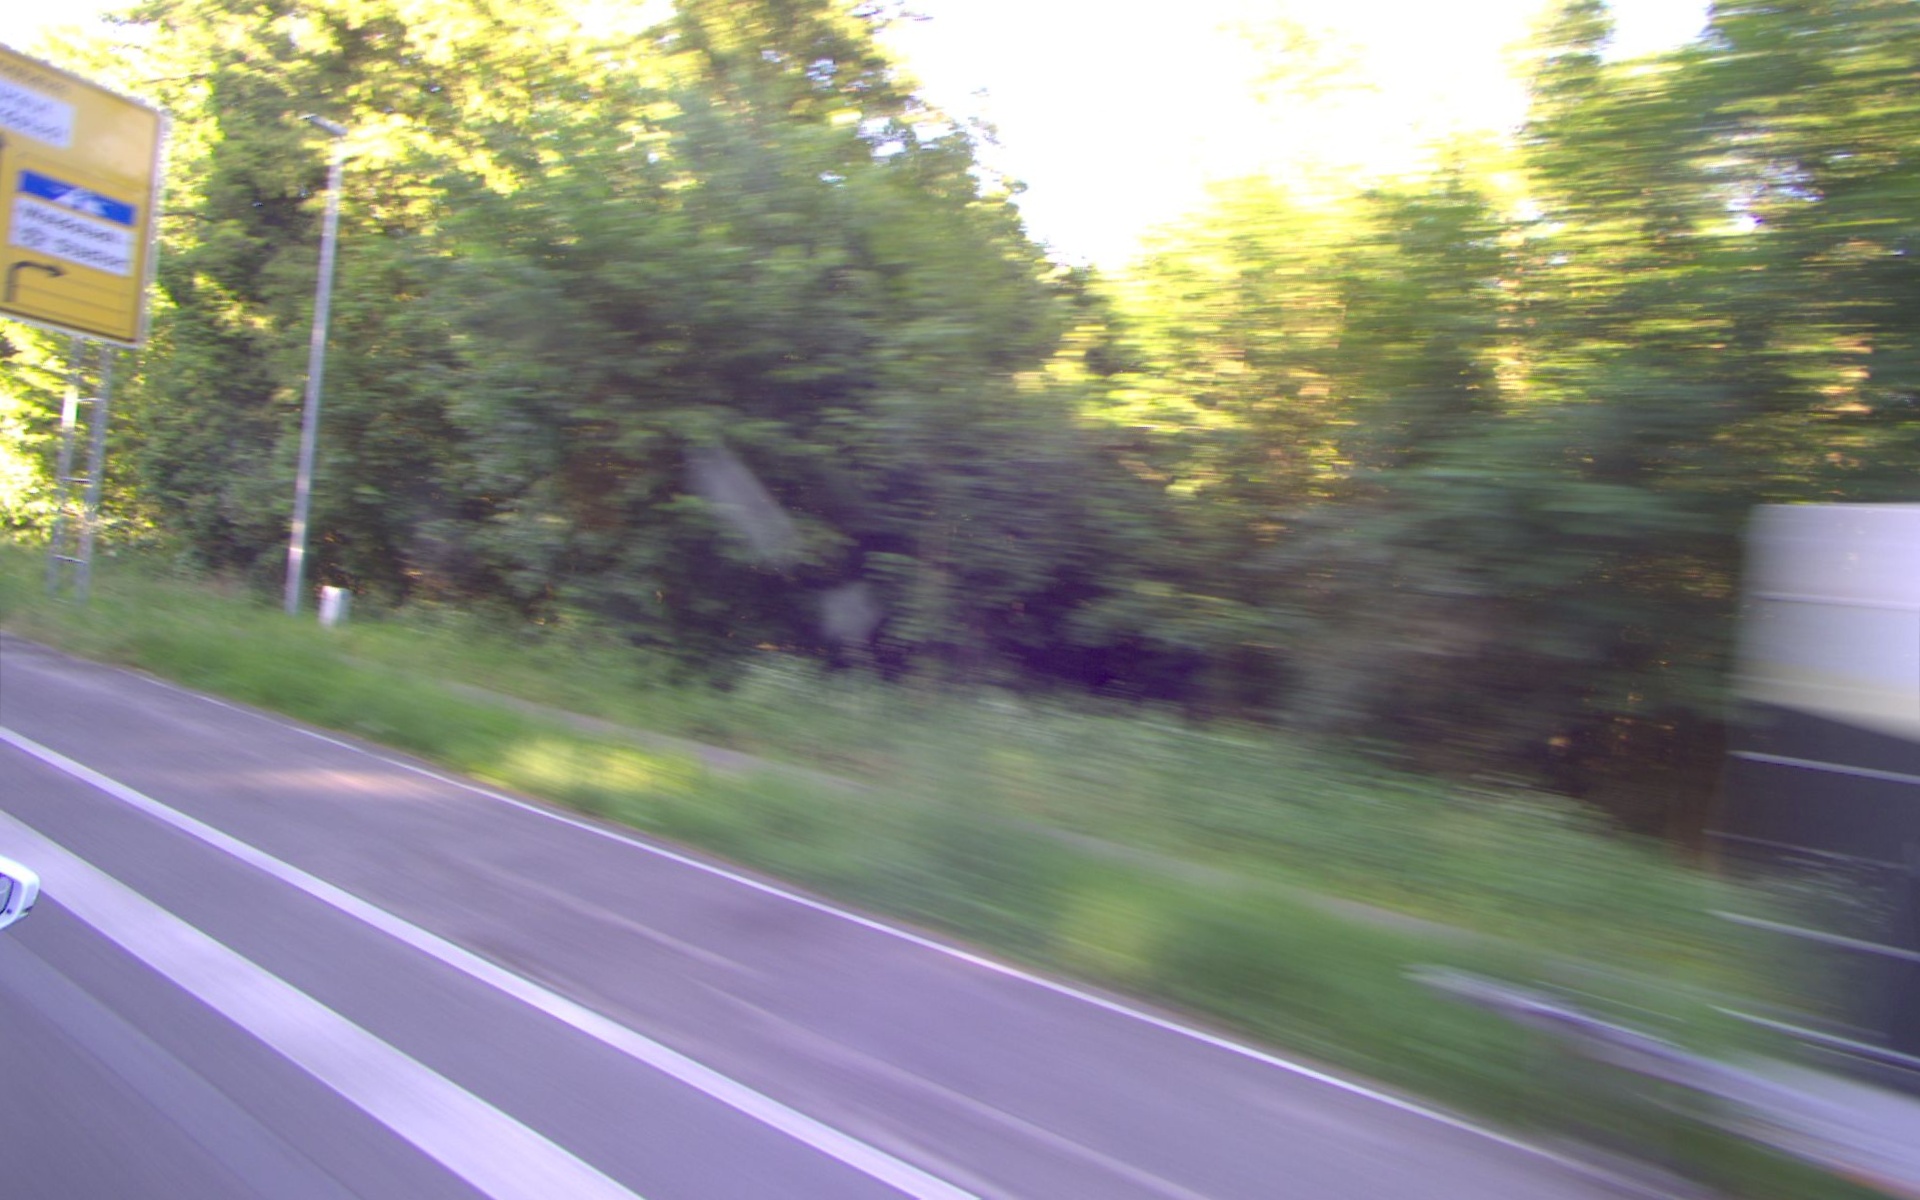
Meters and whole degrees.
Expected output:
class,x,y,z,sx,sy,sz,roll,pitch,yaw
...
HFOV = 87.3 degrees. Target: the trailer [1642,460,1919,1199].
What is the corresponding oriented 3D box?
class,x,y,z,sx,sy,sz,roll,pitch,yaw
trailer,3.169,0.889,2.113,1.606,2.138,2.371,8,-1,-38
